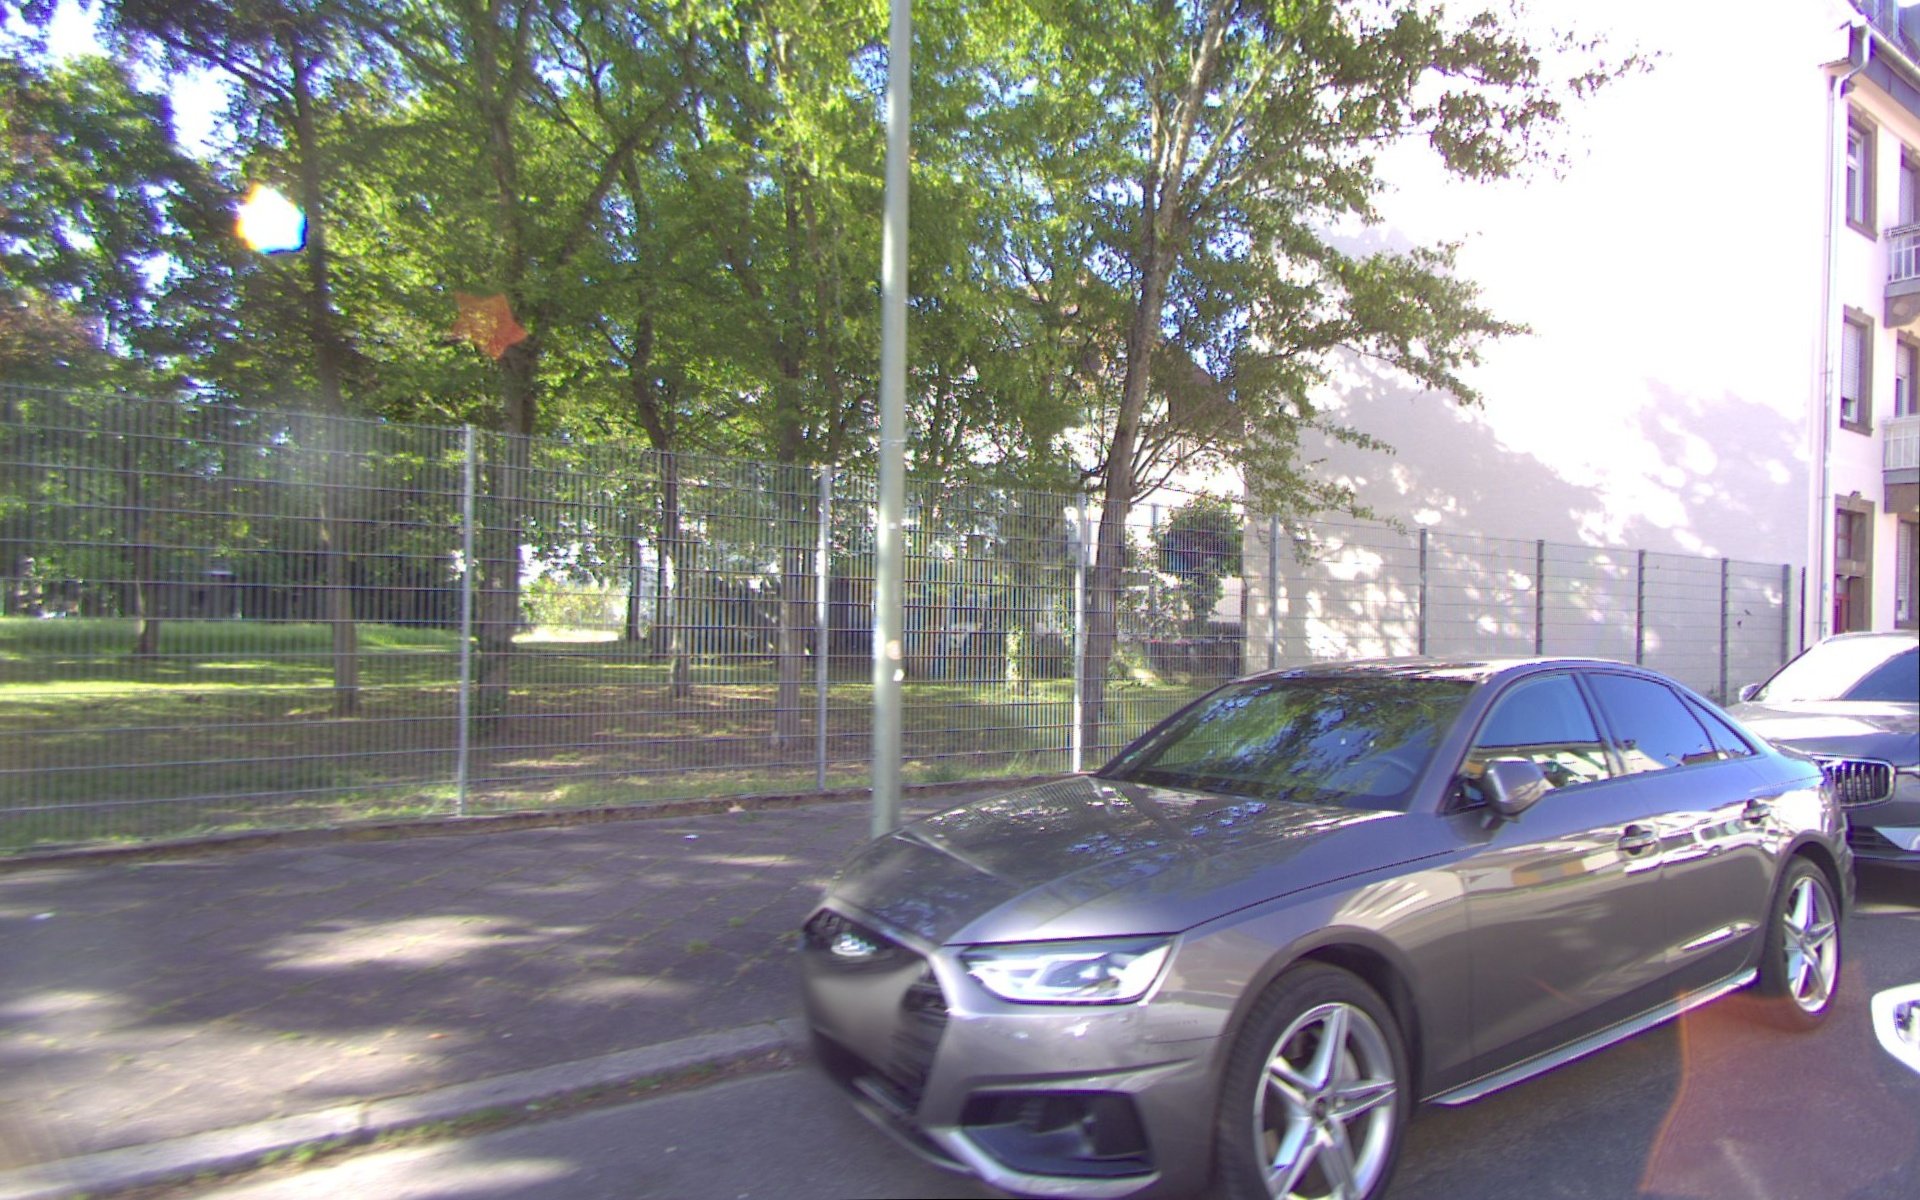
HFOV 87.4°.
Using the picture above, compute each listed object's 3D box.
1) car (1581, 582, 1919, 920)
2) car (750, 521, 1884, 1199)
[{"bbox_3d":[6.543,0.859,6.889,4.875,1.685,1.869,3,-2,-31],"label":"car"},{"bbox_3d":[1.639,0.701,3.892,4.453,1.490,1.784,3,-3,-32],"label":"car"}]
